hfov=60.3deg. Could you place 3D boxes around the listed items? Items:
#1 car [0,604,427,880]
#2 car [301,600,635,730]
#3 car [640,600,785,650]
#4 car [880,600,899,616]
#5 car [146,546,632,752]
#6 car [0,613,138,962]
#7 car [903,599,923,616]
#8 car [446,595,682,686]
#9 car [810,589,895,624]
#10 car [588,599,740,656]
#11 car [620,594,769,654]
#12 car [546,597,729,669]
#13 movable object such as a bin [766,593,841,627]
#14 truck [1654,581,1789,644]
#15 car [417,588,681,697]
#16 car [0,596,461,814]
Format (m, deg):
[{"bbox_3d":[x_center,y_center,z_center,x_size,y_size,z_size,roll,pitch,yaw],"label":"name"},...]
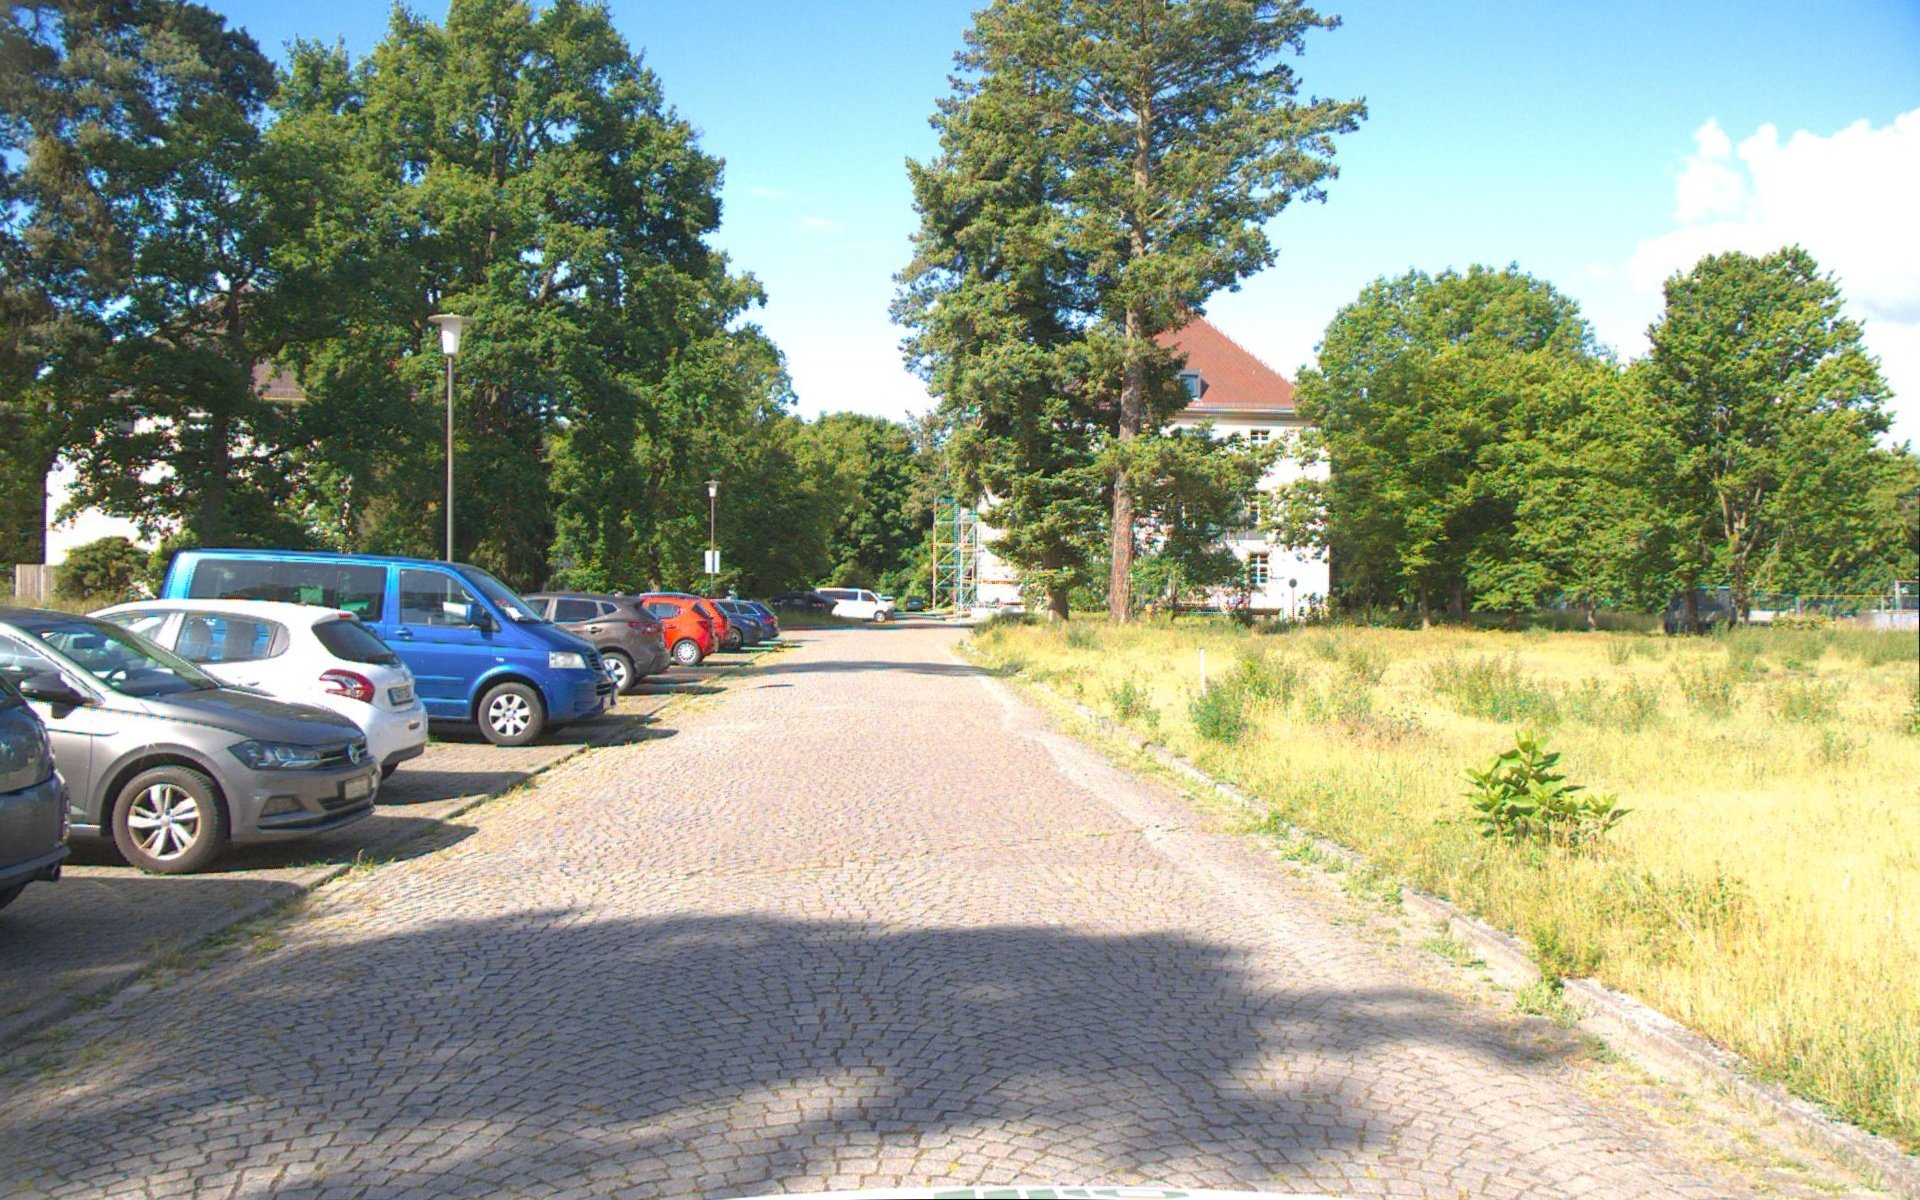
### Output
[{"bbox_3d":[-5.584,0.779,10.123,3.995,1.450,1.922,2,0,-2],"label":"car"},{"bbox_3d":[-6.104,0.797,20.885,3.742,1.465,1.681,2,0,-6],"label":"car"},{"bbox_3d":[-7.807,0.784,52.446,4.270,1.470,1.921,1,0,0],"label":"car"},{"bbox_3d":[-7.143,0.831,167.489,1.776,1.607,4.132,0,0,-3],"label":"car"},{"bbox_3d":[-6.137,0.521,18.273,4.624,2.002,2.004,2,0,-3],"label":"car"},{"bbox_3d":[-6.068,0.749,7.207,3.995,1.477,1.821,2,-1,-2],"label":"car"},{"bbox_3d":[-4.805,0.778,167.922,1.932,1.697,4.083,0,0,-3],"label":"car"},{"bbox_3d":[-7.087,0.712,29.904,3.846,1.474,1.865,2,0,-5],"label":"car"},{"bbox_3d":[-6.606,0.392,101.445,5.130,2.051,1.949,1,0,-4],"label":"car"},{"bbox_3d":[-8.073,0.745,45.345,3.844,1.458,1.841,1,0,-2],"label":"car"},{"bbox_3d":[-7.622,0.678,47.769,4.053,1.607,1.883,1,0,-3],"label":"car"},{"bbox_3d":[-7.252,0.741,37.499,3.846,1.486,1.840,1,0,-5],"label":"car"},{"bbox_3d":[-8.354,0.547,88.236,3.490,1.775,2.026,0,0,16],"label":"movable object such as a bin"},{"bbox_3d":[32.394,0.515,70.673,2.189,2.466,6.881,2,0,-4],"label":"truck"},{"bbox_3d":[-6.662,0.679,27.194,3.876,1.595,1.972,2,1,-5],"label":"car"},{"bbox_3d":[-6.257,0.765,12.970,4.113,1.501,1.823,2,0,-3],"label":"car"}]
